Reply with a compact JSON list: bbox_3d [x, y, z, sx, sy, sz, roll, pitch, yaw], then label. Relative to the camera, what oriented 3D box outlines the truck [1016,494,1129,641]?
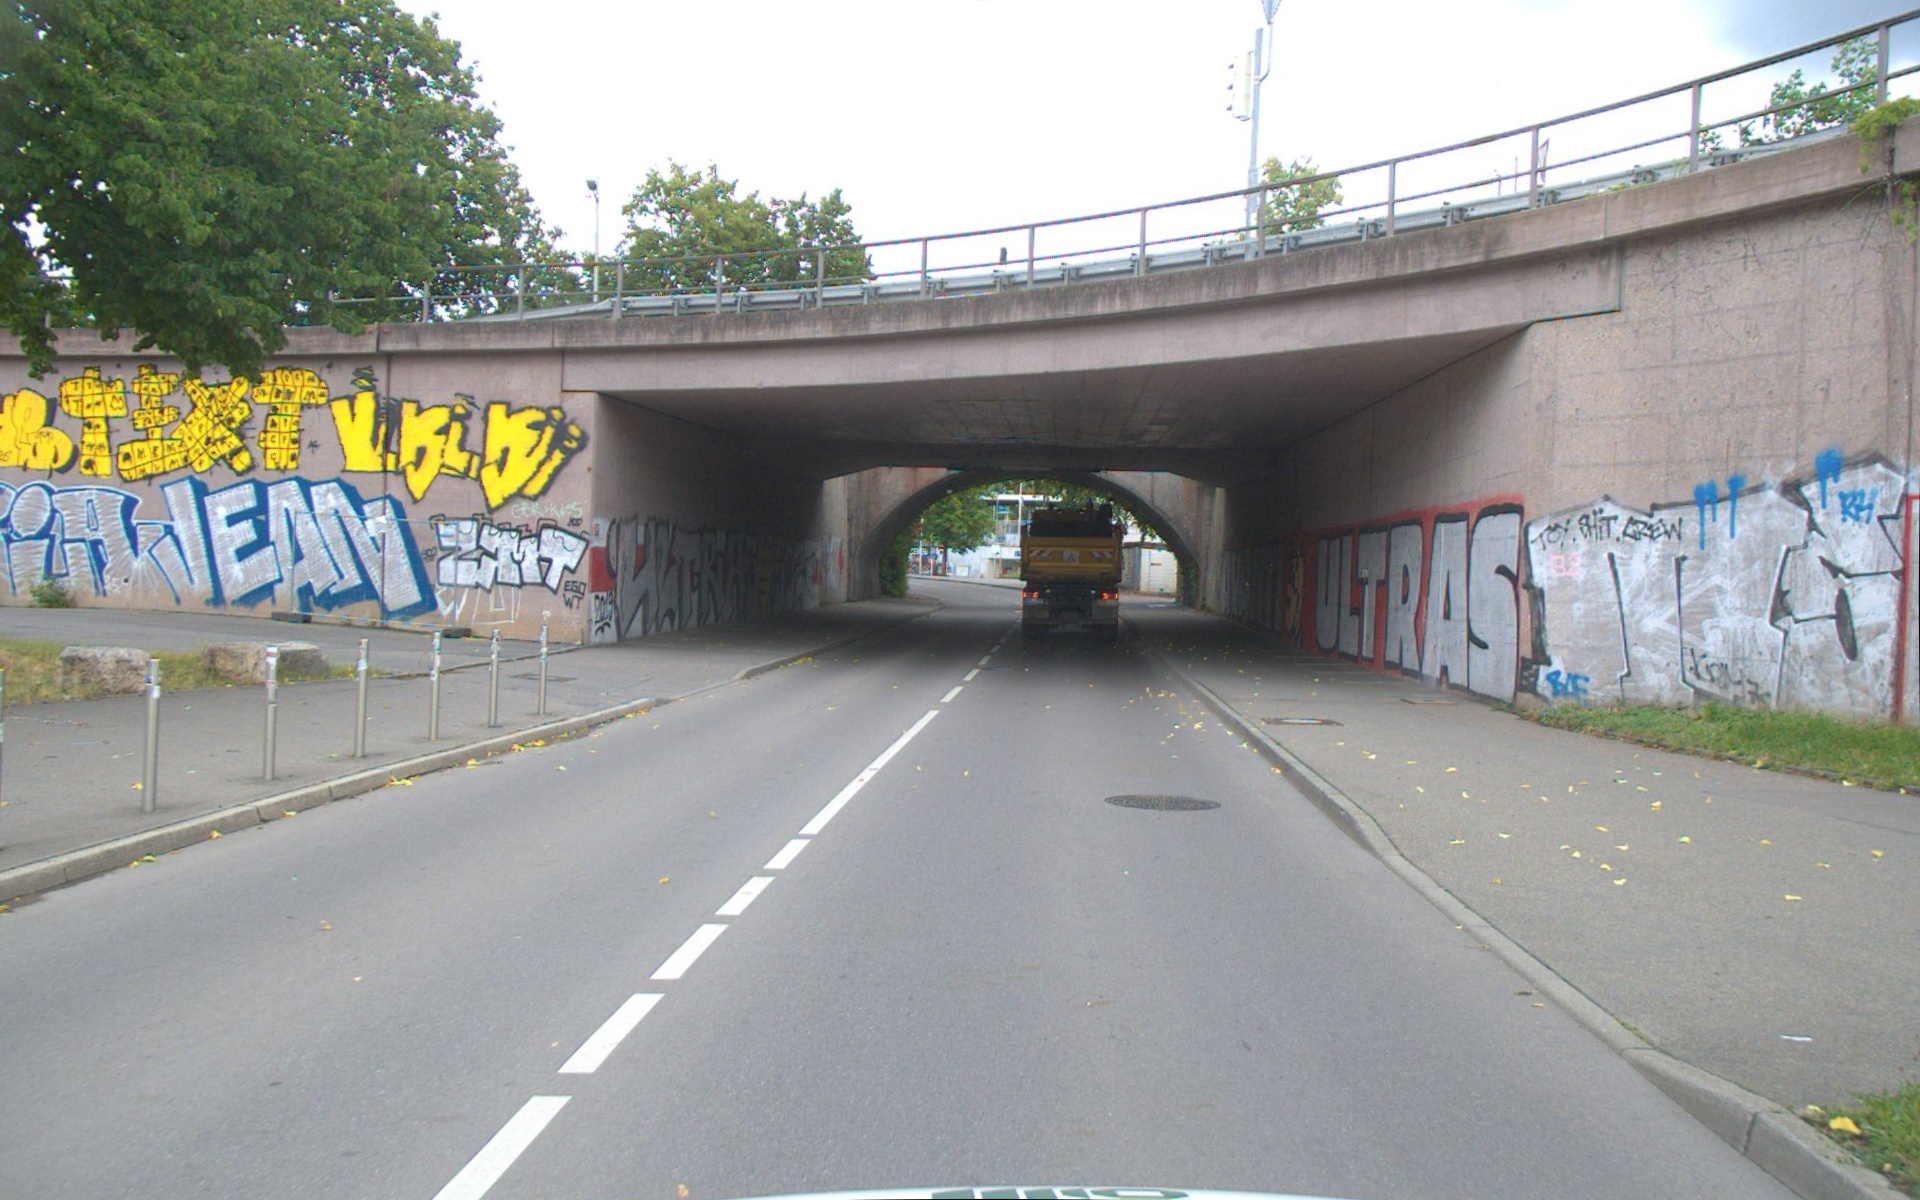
[{"bbox_3d":[3.114,-0.947,44.508,2.706,3.543,8.136,1,2,5],"label":"truck"}]
